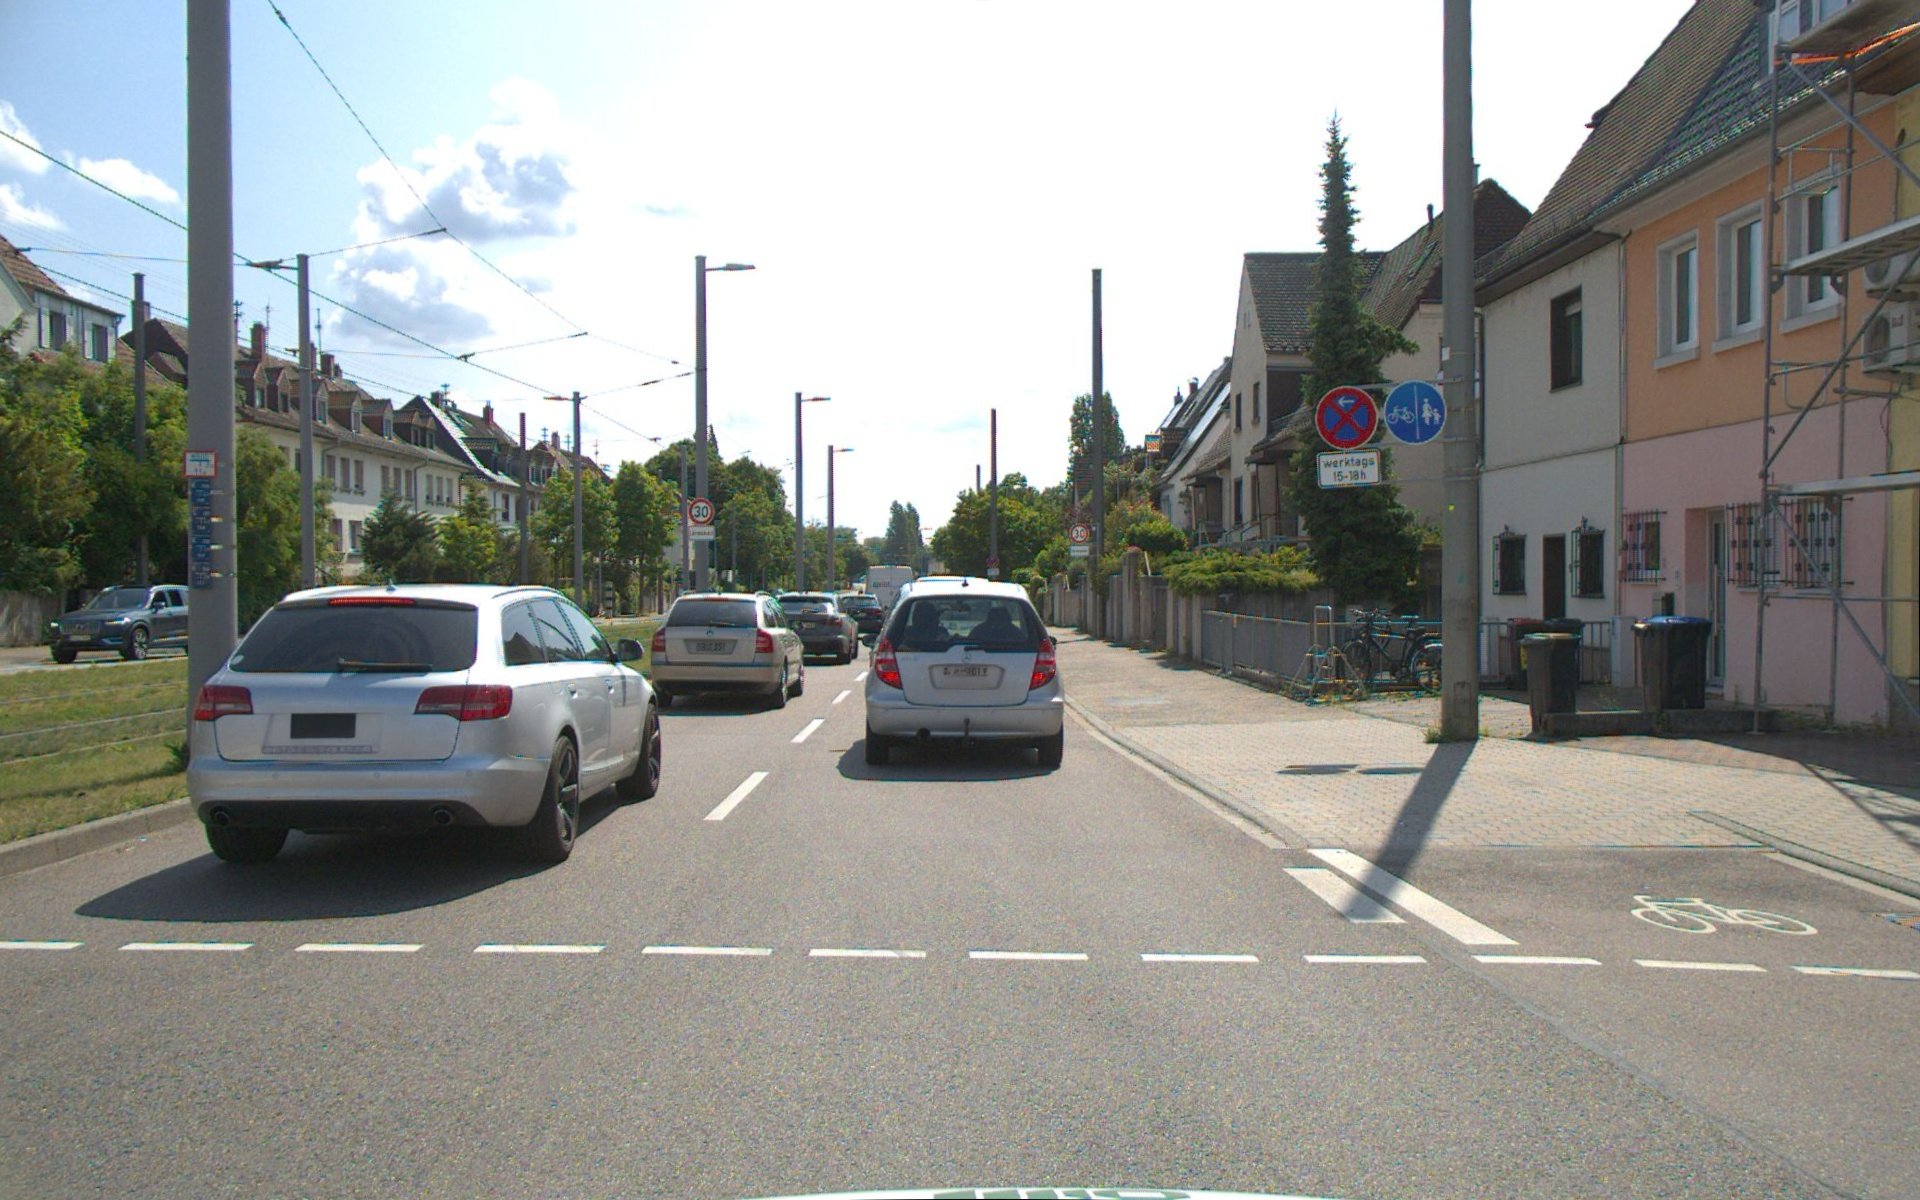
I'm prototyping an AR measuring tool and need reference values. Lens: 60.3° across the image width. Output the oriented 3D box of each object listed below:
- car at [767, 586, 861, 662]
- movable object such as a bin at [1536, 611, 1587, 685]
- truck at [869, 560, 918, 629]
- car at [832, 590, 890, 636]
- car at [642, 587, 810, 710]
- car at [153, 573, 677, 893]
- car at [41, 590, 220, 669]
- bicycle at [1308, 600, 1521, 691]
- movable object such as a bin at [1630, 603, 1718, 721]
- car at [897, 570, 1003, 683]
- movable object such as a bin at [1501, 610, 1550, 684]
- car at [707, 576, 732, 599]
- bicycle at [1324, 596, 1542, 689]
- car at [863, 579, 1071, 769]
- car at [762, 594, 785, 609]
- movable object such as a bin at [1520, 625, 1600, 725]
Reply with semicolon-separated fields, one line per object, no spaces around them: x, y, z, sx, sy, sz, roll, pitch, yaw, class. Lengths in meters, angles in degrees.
-3.105;0.470;35.974;1.878;1.503;4.559;1;0;-4;car
8.004;0.631;22.021;0.458;0.963;0.558;-1;0;-1;movable object such as a bin
-2.640;-0.207;65.879;1.815;2.597;5.852;1;0;-3;truck
-3.217;0.389;54.499;1.815;1.412;4.512;1;0;-3;car
-3.066;0.591;22.409;1.696;1.474;4.122;1;0;-1;car
-2.962;0.598;10.138;1.758;1.497;4.721;0;1;-2;car
-19.938;0.657;40.041;1.974;1.741;4.934;-1;0;-2;car
6.102;0.606;22.290;2.671;1.139;0.691;-1;0;-2;bicycle
6.997;0.591;16.231;0.501;1.124;0.855;0;0;0;movable object such as a bin
-0.201;0.426;28.907;1.695;1.793;4.015;1;0;-1;car
7.522;0.624;22.016;0.458;0.963;0.558;0;0;-1;movable object such as a bin
-25.768;-1.329;177.089;1.877;2.371;4.563;1;0;1;car
6.138;0.542;21.545;2.608;1.124;0.786;-1;0;-2;bicycle
-0.002;0.605;15.696;1.695;1.543;4.015;1;0;-2;car
-20.186;0.136;178.830;1.877;1.503;4.563;1;0;1;car
5.805;0.713;16.029;0.501;0.934;0.741;0;0;0;movable object such as a bin
